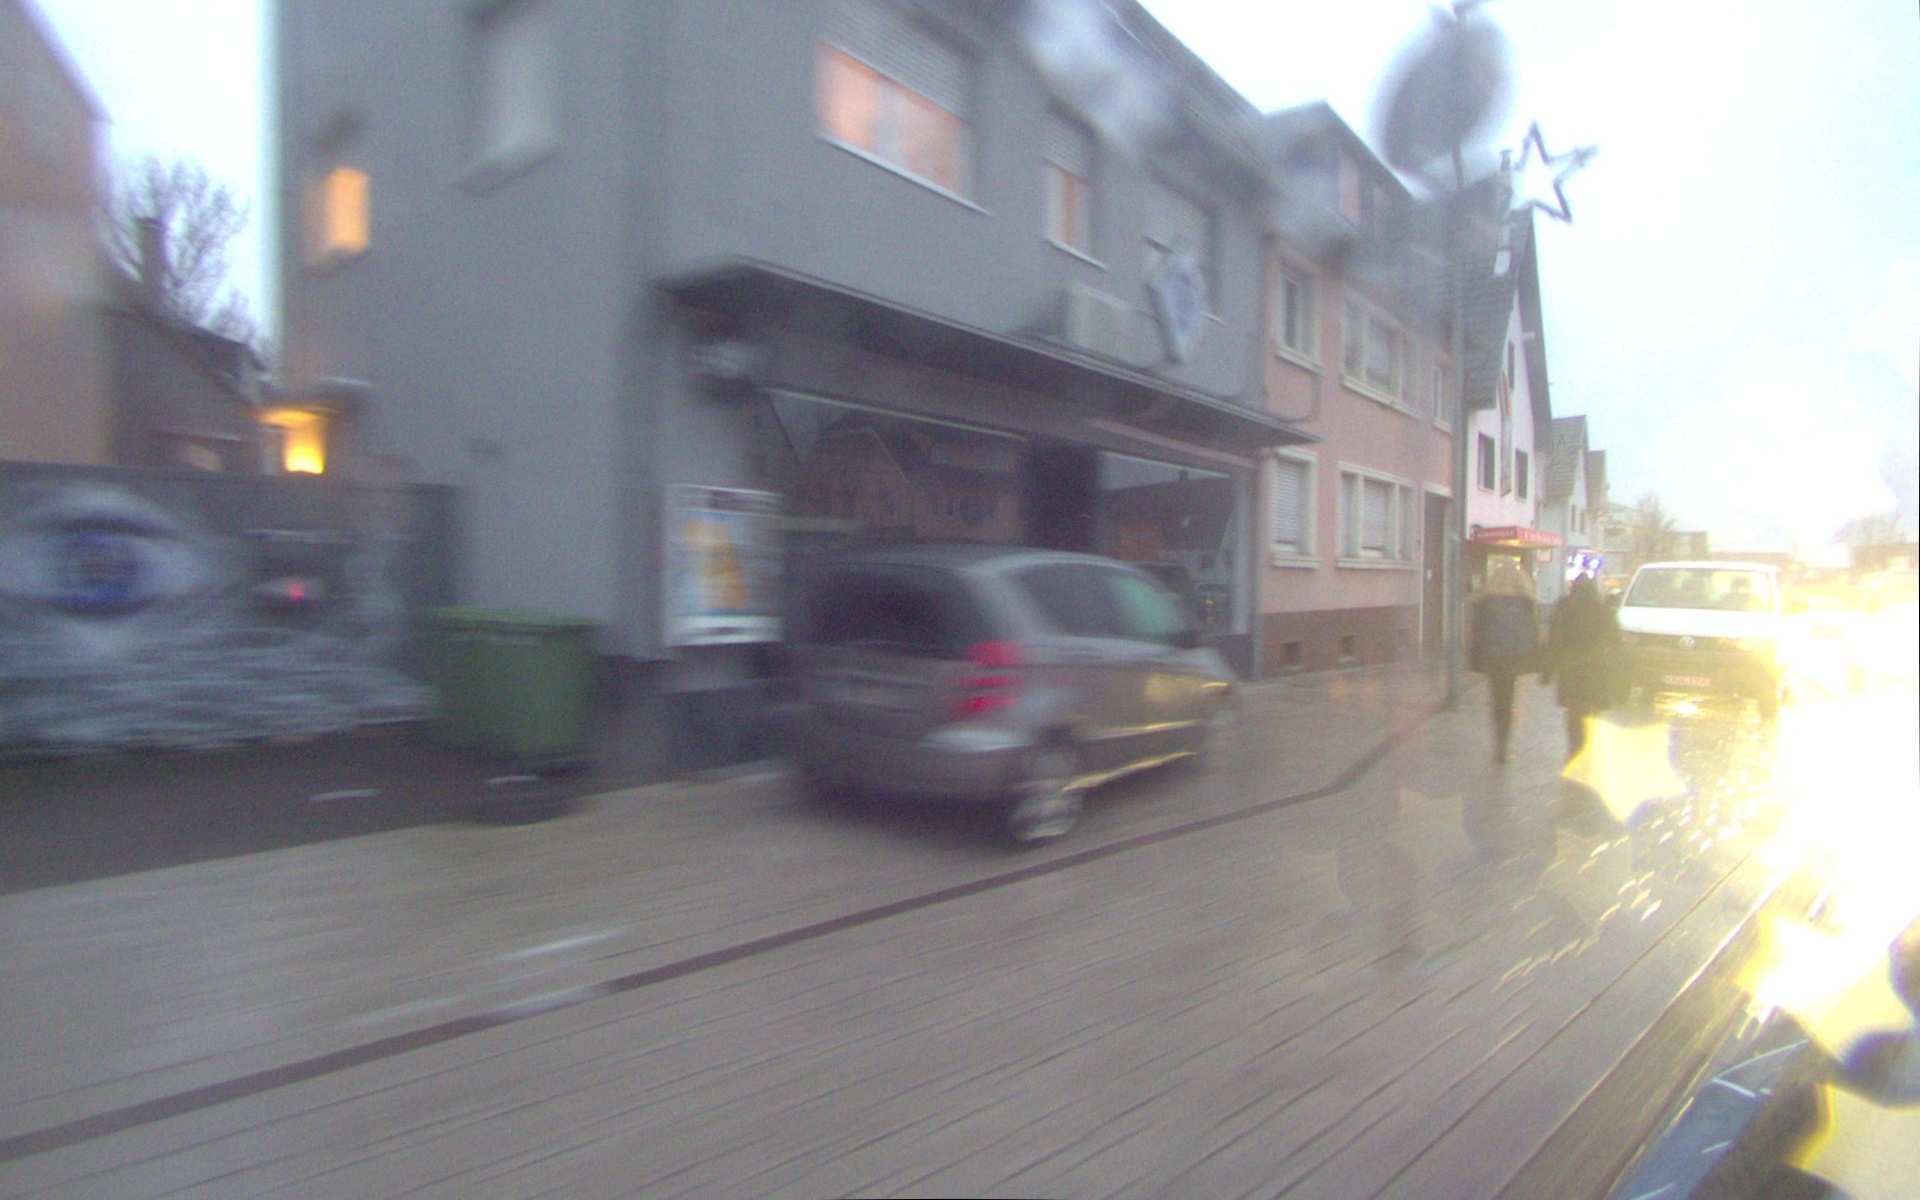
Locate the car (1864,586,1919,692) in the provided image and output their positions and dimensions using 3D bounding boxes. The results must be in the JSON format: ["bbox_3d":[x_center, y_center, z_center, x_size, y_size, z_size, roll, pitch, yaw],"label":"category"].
[{"bbox_3d":[17.248,0.610,17.408,2.261,1.663,4.994,1,1,39],"label":"car"}]

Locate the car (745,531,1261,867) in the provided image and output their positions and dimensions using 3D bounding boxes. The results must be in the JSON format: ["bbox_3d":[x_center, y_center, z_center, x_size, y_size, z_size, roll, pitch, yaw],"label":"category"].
[{"bbox_3d":[0.528,0.415,6.749,1.729,1.580,3.616,3,2,36],"label":"car"}]

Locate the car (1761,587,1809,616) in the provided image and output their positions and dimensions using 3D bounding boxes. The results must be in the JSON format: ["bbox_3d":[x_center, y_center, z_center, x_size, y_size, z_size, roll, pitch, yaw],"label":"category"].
[{"bbox_3d":[45.812,0.060,56.246,1.613,1.498,3.793,3,1,33],"label":"car"}]

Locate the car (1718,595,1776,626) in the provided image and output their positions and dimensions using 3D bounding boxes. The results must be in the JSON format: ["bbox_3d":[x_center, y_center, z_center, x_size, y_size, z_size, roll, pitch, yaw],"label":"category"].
[{"bbox_3d":[33.952,0.423,43.717,1.654,1.227,3.732,2,2,33],"label":"car"}]

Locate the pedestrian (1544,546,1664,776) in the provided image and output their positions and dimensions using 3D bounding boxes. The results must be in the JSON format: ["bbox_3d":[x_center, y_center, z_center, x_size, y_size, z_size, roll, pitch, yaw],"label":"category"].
[{"bbox_3d":[5.166,0.442,8.104,0.711,1.720,0.794,2,1,37],"label":"pedestrian"}]

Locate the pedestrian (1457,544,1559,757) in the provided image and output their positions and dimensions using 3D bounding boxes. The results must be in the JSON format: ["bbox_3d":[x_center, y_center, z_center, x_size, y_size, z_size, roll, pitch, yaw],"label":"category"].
[{"bbox_3d":[4.604,0.386,8.487,0.578,1.690,0.780,2,2,39],"label":"pedestrian"}]

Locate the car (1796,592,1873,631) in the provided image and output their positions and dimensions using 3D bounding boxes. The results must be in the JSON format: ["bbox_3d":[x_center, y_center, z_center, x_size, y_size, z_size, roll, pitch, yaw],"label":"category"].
[{"bbox_3d":[37.541,0.449,43.554,1.819,1.537,4.495,2,1,33],"label":"car"}]

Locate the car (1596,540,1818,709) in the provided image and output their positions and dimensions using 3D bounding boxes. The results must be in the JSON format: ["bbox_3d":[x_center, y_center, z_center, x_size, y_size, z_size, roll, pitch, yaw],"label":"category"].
[{"bbox_3d":[10.689,0.257,14.320,1.973,1.984,4.776,2,1,43],"label":"car"}]

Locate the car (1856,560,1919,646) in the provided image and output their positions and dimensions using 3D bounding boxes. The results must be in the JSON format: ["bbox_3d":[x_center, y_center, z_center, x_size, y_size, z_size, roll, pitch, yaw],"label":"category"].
[{"bbox_3d":[30.389,0.074,31.974,2.186,2.521,6.070,1,1,33],"label":"car"}]
